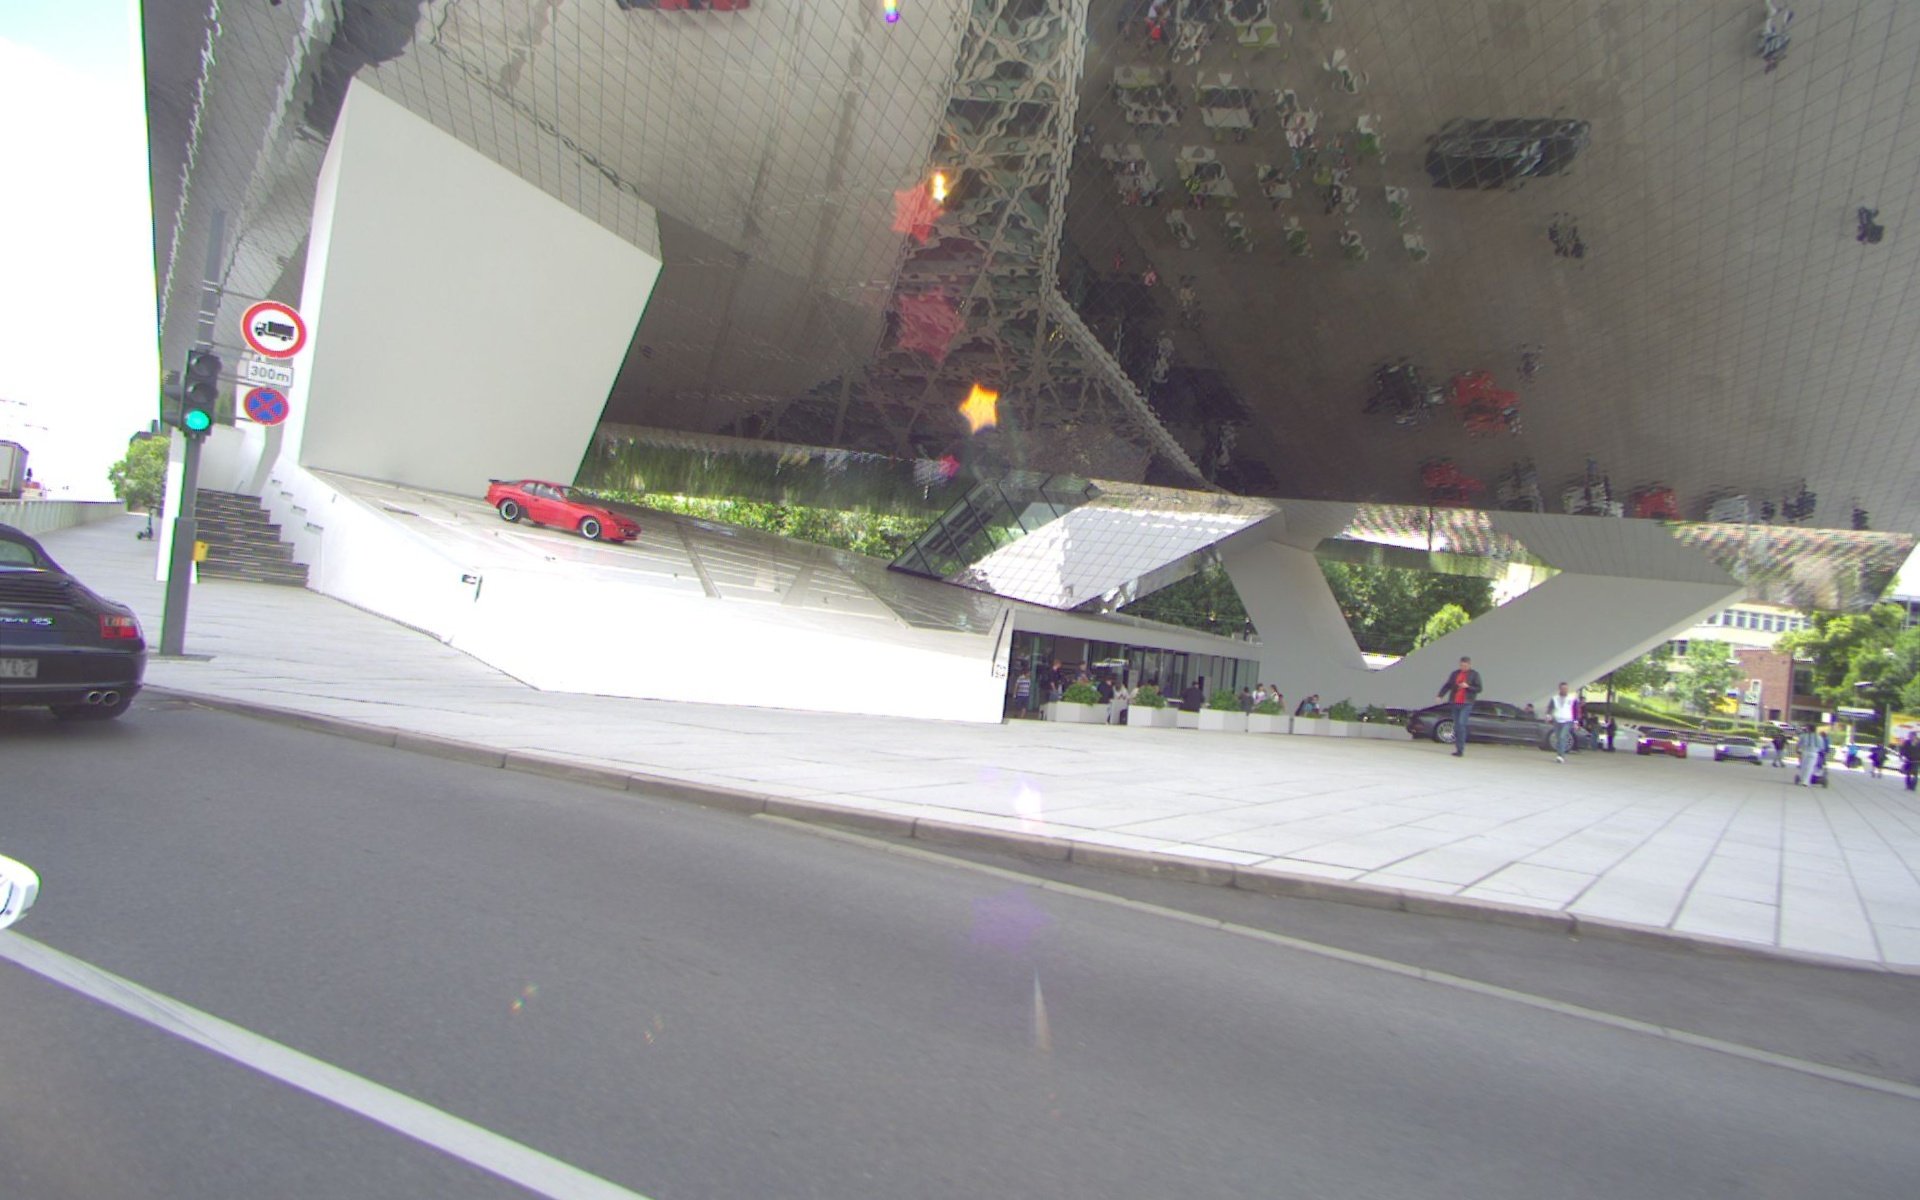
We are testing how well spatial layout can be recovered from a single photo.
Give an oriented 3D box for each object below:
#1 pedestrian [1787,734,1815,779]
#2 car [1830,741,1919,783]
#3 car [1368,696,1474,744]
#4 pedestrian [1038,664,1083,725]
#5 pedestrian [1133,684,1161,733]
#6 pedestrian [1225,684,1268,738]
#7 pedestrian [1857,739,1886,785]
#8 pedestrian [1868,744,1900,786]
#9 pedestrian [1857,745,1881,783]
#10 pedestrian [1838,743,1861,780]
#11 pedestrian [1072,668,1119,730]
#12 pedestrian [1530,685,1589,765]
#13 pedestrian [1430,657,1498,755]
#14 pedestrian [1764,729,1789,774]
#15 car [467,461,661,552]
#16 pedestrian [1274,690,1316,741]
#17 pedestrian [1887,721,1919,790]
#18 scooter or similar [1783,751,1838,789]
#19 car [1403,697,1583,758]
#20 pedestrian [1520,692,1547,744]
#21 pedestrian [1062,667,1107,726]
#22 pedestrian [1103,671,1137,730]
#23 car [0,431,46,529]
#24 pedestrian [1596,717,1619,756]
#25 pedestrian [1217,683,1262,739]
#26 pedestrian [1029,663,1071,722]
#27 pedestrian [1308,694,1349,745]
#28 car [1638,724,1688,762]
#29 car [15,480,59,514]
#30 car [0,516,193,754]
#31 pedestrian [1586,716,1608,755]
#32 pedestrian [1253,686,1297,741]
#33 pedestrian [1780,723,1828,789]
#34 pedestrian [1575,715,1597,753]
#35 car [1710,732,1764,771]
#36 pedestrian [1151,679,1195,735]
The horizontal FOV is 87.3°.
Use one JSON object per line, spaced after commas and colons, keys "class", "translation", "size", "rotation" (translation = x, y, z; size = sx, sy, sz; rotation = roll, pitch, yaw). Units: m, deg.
{"class": "pedestrian", "translation": [39.764, 7.393, 47.570], "size": [0.764, 2.036, 0.826], "rotation": [5, -3, 33]}
{"class": "car", "translation": [57.857, 10.193, 63.475], "size": [4.147, 2.036, 1.996], "rotation": [4, -4, 36]}
{"class": "car", "translation": [20.149, 5.235, 44.016], "size": [3.948, 1.566, 1.992], "rotation": [8, -4, -23]}
{"class": "pedestrian", "translation": [2.792, 2.623, 28.065], "size": [0.818, 1.590, 0.921], "rotation": [7, -3, -16]}
{"class": "pedestrian", "translation": [5.405, 3.130, 29.113], "size": [0.632, 1.333, 0.695], "rotation": [6, -3, 10]}
{"class": "pedestrian", "translation": [9.138, 3.533, 32.059], "size": [0.911, 1.590, 0.827], "rotation": [4, -4, 42]}
{"class": "pedestrian", "translation": [43.072, 7.637, 47.540], "size": [0.764, 2.036, 0.826], "rotation": [5, -3, 33]}
{"class": "pedestrian", "translation": [48.888, 8.730, 53.219], "size": [0.812, 2.036, 0.777], "rotation": [6, -2, -3]}
{"class": "pedestrian", "translation": [51.632, 9.285, 57.147], "size": [0.764, 2.036, 0.826], "rotation": [5, -3, 33]}
{"class": "pedestrian", "translation": [51.630, 9.369, 58.409], "size": [0.764, 2.036, 0.826], "rotation": [5, -3, 33]}
{"class": "pedestrian", "translation": [3.767, 2.736, 28.043], "size": [0.908, 1.590, 0.829], "rotation": [7, -3, -12]}
{"class": "pedestrian", "translation": [13.687, 2.851, 22.960], "size": [0.911, 1.695, 0.827], "rotation": [4, -3, 42]}
{"class": "pedestrian", "translation": [10.151, 2.134, 20.258], "size": [0.911, 1.846, 0.827], "rotation": [4, -3, 42]}
{"class": "pedestrian", "translation": [38.937, 7.224, 47.967], "size": [0.766, 2.036, 0.824], "rotation": [4, -3, 41]}
{"class": "car", "translation": [-10.853, -2.543, 27.747], "size": [4.430, 1.412, 1.999], "rotation": [13, 3, 8]}
{"class": "pedestrian", "translation": [11.311, 3.898, 33.955], "size": [0.825, 1.590, 0.913], "rotation": [9, -3, -41]}
{"class": "pedestrian", "translation": [29.690, 4.862, 31.468], "size": [0.764, 2.036, 0.826], "rotation": [5, -3, 33]}
{"class": "scooter or similar", "translation": [22.265, 4.455, 26.340], "size": [1.107, 0.849, 0.938], "rotation": [10, -4, -43]}
{"class": "car", "translation": [16.425, 3.927, 31.278], "size": [4.590, 1.234, 2.003], "rotation": [5, -4, 18]}
{"class": "pedestrian", "translation": [23.400, 4.809, 41.044], "size": [0.764, 2.036, 0.826], "rotation": [5, -3, 33]}
{"class": "pedestrian", "translation": [3.626, 2.806, 29.339], "size": [0.908, 1.590, 0.829], "rotation": [7, -3, -12]}
{"class": "pedestrian", "translation": [4.665, 2.927, 29.323], "size": [0.780, 1.590, 0.694], "rotation": [6, -3, 13]}
{"class": "car", "translation": [-42.468, -5.267, 43.581], "size": [3.322, 3.542, 9.248], "rotation": [9, -4, -38]}
{"class": "pedestrian", "translation": [31.354, 6.621, 48.694], "size": [0.765, 1.758, 0.826], "rotation": [4, -3, 36]}
{"class": "pedestrian", "translation": [8.625, 3.410, 31.027], "size": [0.911, 1.590, 0.827], "rotation": [4, -4, 42]}
{"class": "pedestrian", "translation": [2.609, 2.675, 29.156], "size": [0.817, 1.590, 0.922], "rotation": [7, -3, -11]}
{"class": "pedestrian", "translation": [12.627, 4.085, 34.454], "size": [0.825, 1.590, 0.913], "rotation": [9, -3, -41]}
{"class": "car", "translation": [35.296, 7.170, 50.513], "size": [1.859, 1.571, 3.992], "rotation": [4, -4, 36]}
{"class": "car", "translation": [-68.569, -7.615, 74.773], "size": [1.986, 1.924, 3.959], "rotation": [9, -4, -39]}
{"class": "car", "translation": [-7.176, 0.023, 6.523], "size": [3.929, 1.341, 1.839], "rotation": [6, -1, 26]}
{"class": "pedestrian", "translation": [30.061, 6.388, 47.480], "size": [0.764, 1.758, 0.826], "rotation": [5, -3, 33]}
{"class": "pedestrian", "translation": [9.845, 3.557, 31.436], "size": [0.911, 1.590, 0.827], "rotation": [4, -4, 42]}
{"class": "pedestrian", "translation": [21.683, 4.009, 25.844], "size": [0.782, 1.558, 0.794], "rotation": [9, -4, -43]}
{"class": "pedestrian", "translation": [30.684, 6.581, 49.271], "size": [0.765, 1.758, 0.826], "rotation": [5, -3, 35]}
{"class": "car", "translation": [38.411, 7.489, 49.818], "size": [1.859, 1.571, 3.992], "rotation": [4, -4, 36]}
{"class": "pedestrian", "translation": [6.559, 3.287, 30.978], "size": [0.911, 1.590, 0.827], "rotation": [4, -4, 42]}
